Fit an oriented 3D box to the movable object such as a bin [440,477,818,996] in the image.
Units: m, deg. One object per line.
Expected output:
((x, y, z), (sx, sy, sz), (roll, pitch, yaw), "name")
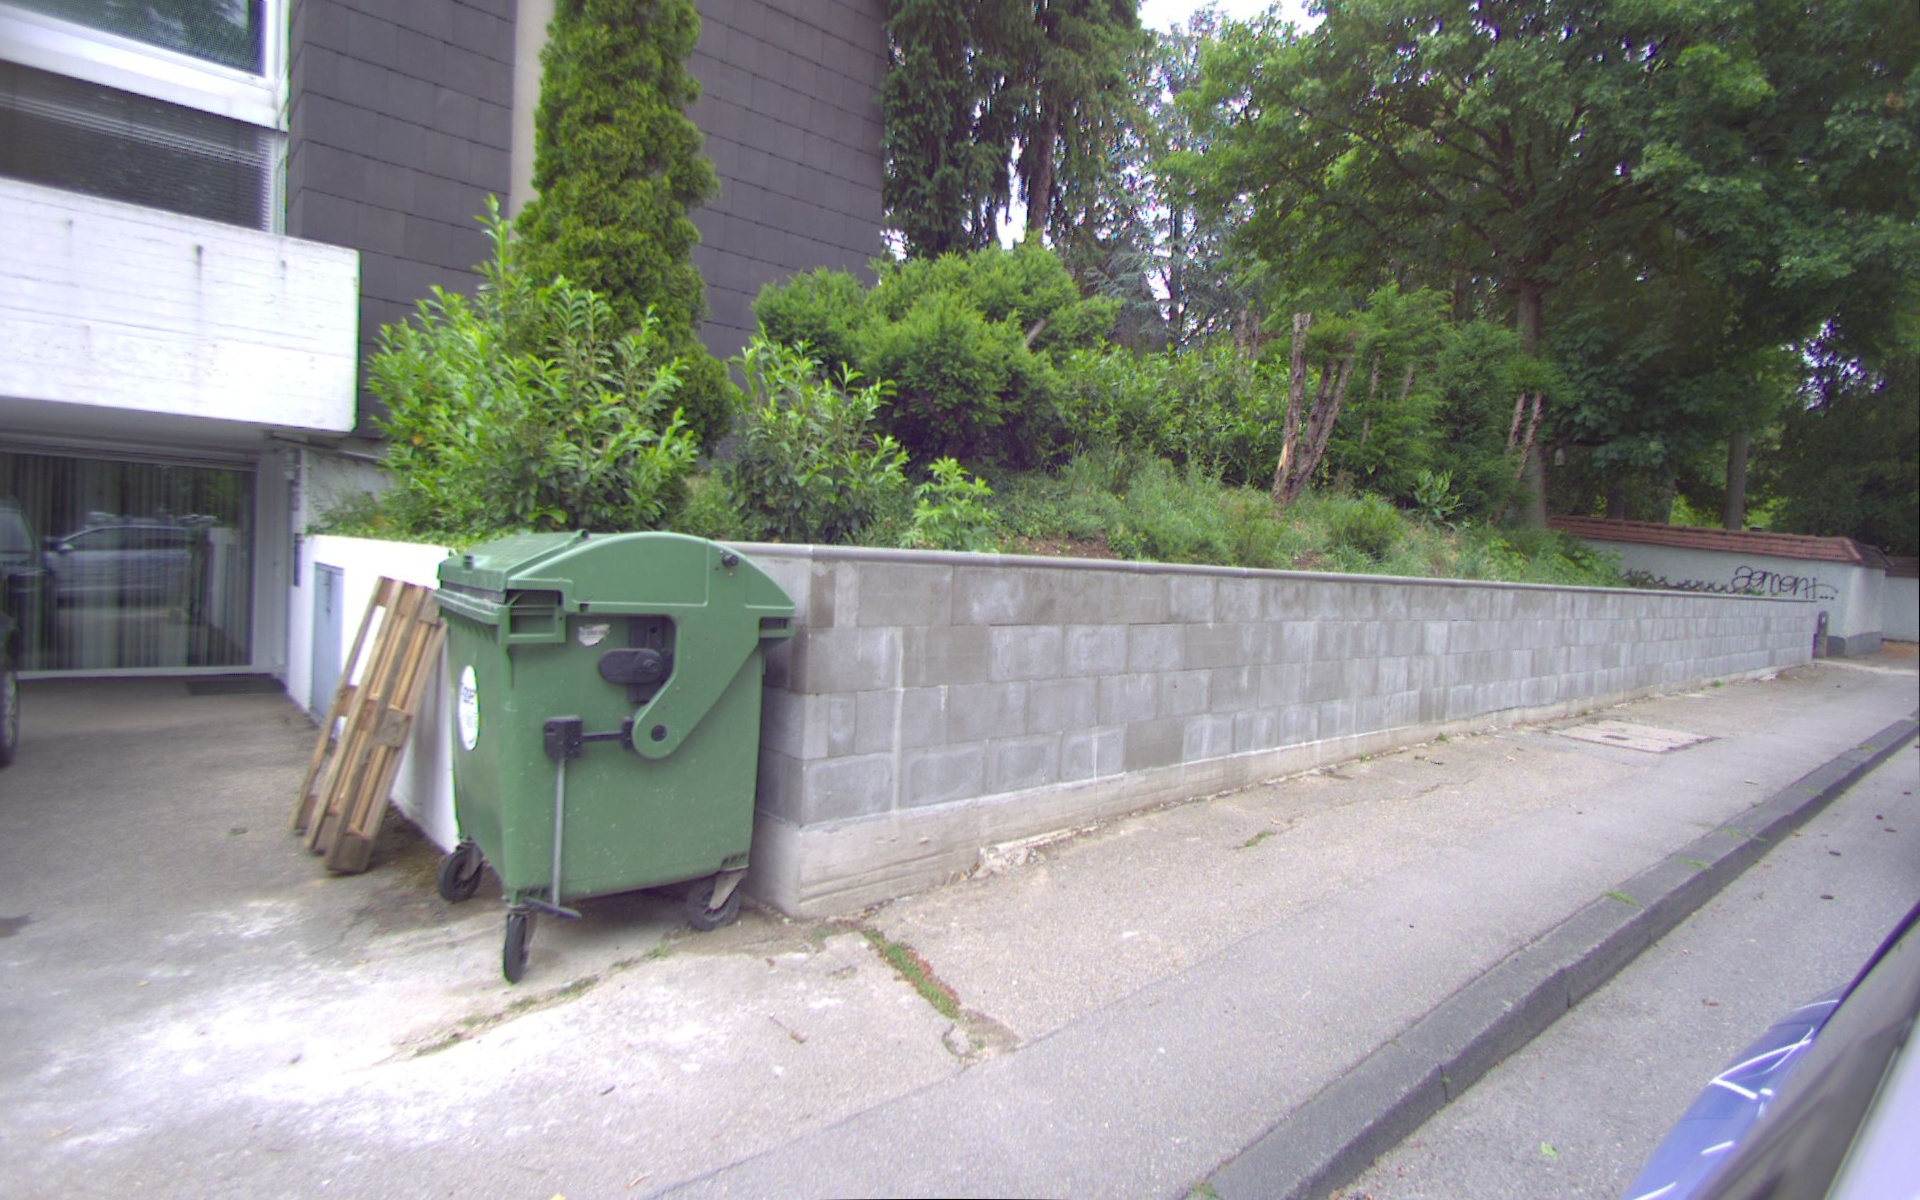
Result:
((-1.242, 0.383, 3.736), (1.014, 1.549, 1.037), (0, 2, -39), "movable object such as a bin")

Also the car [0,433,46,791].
((-5.249, 0.084, 4.168), (1.798, 1.771, 3.987), (0, 3, -36), "car")
